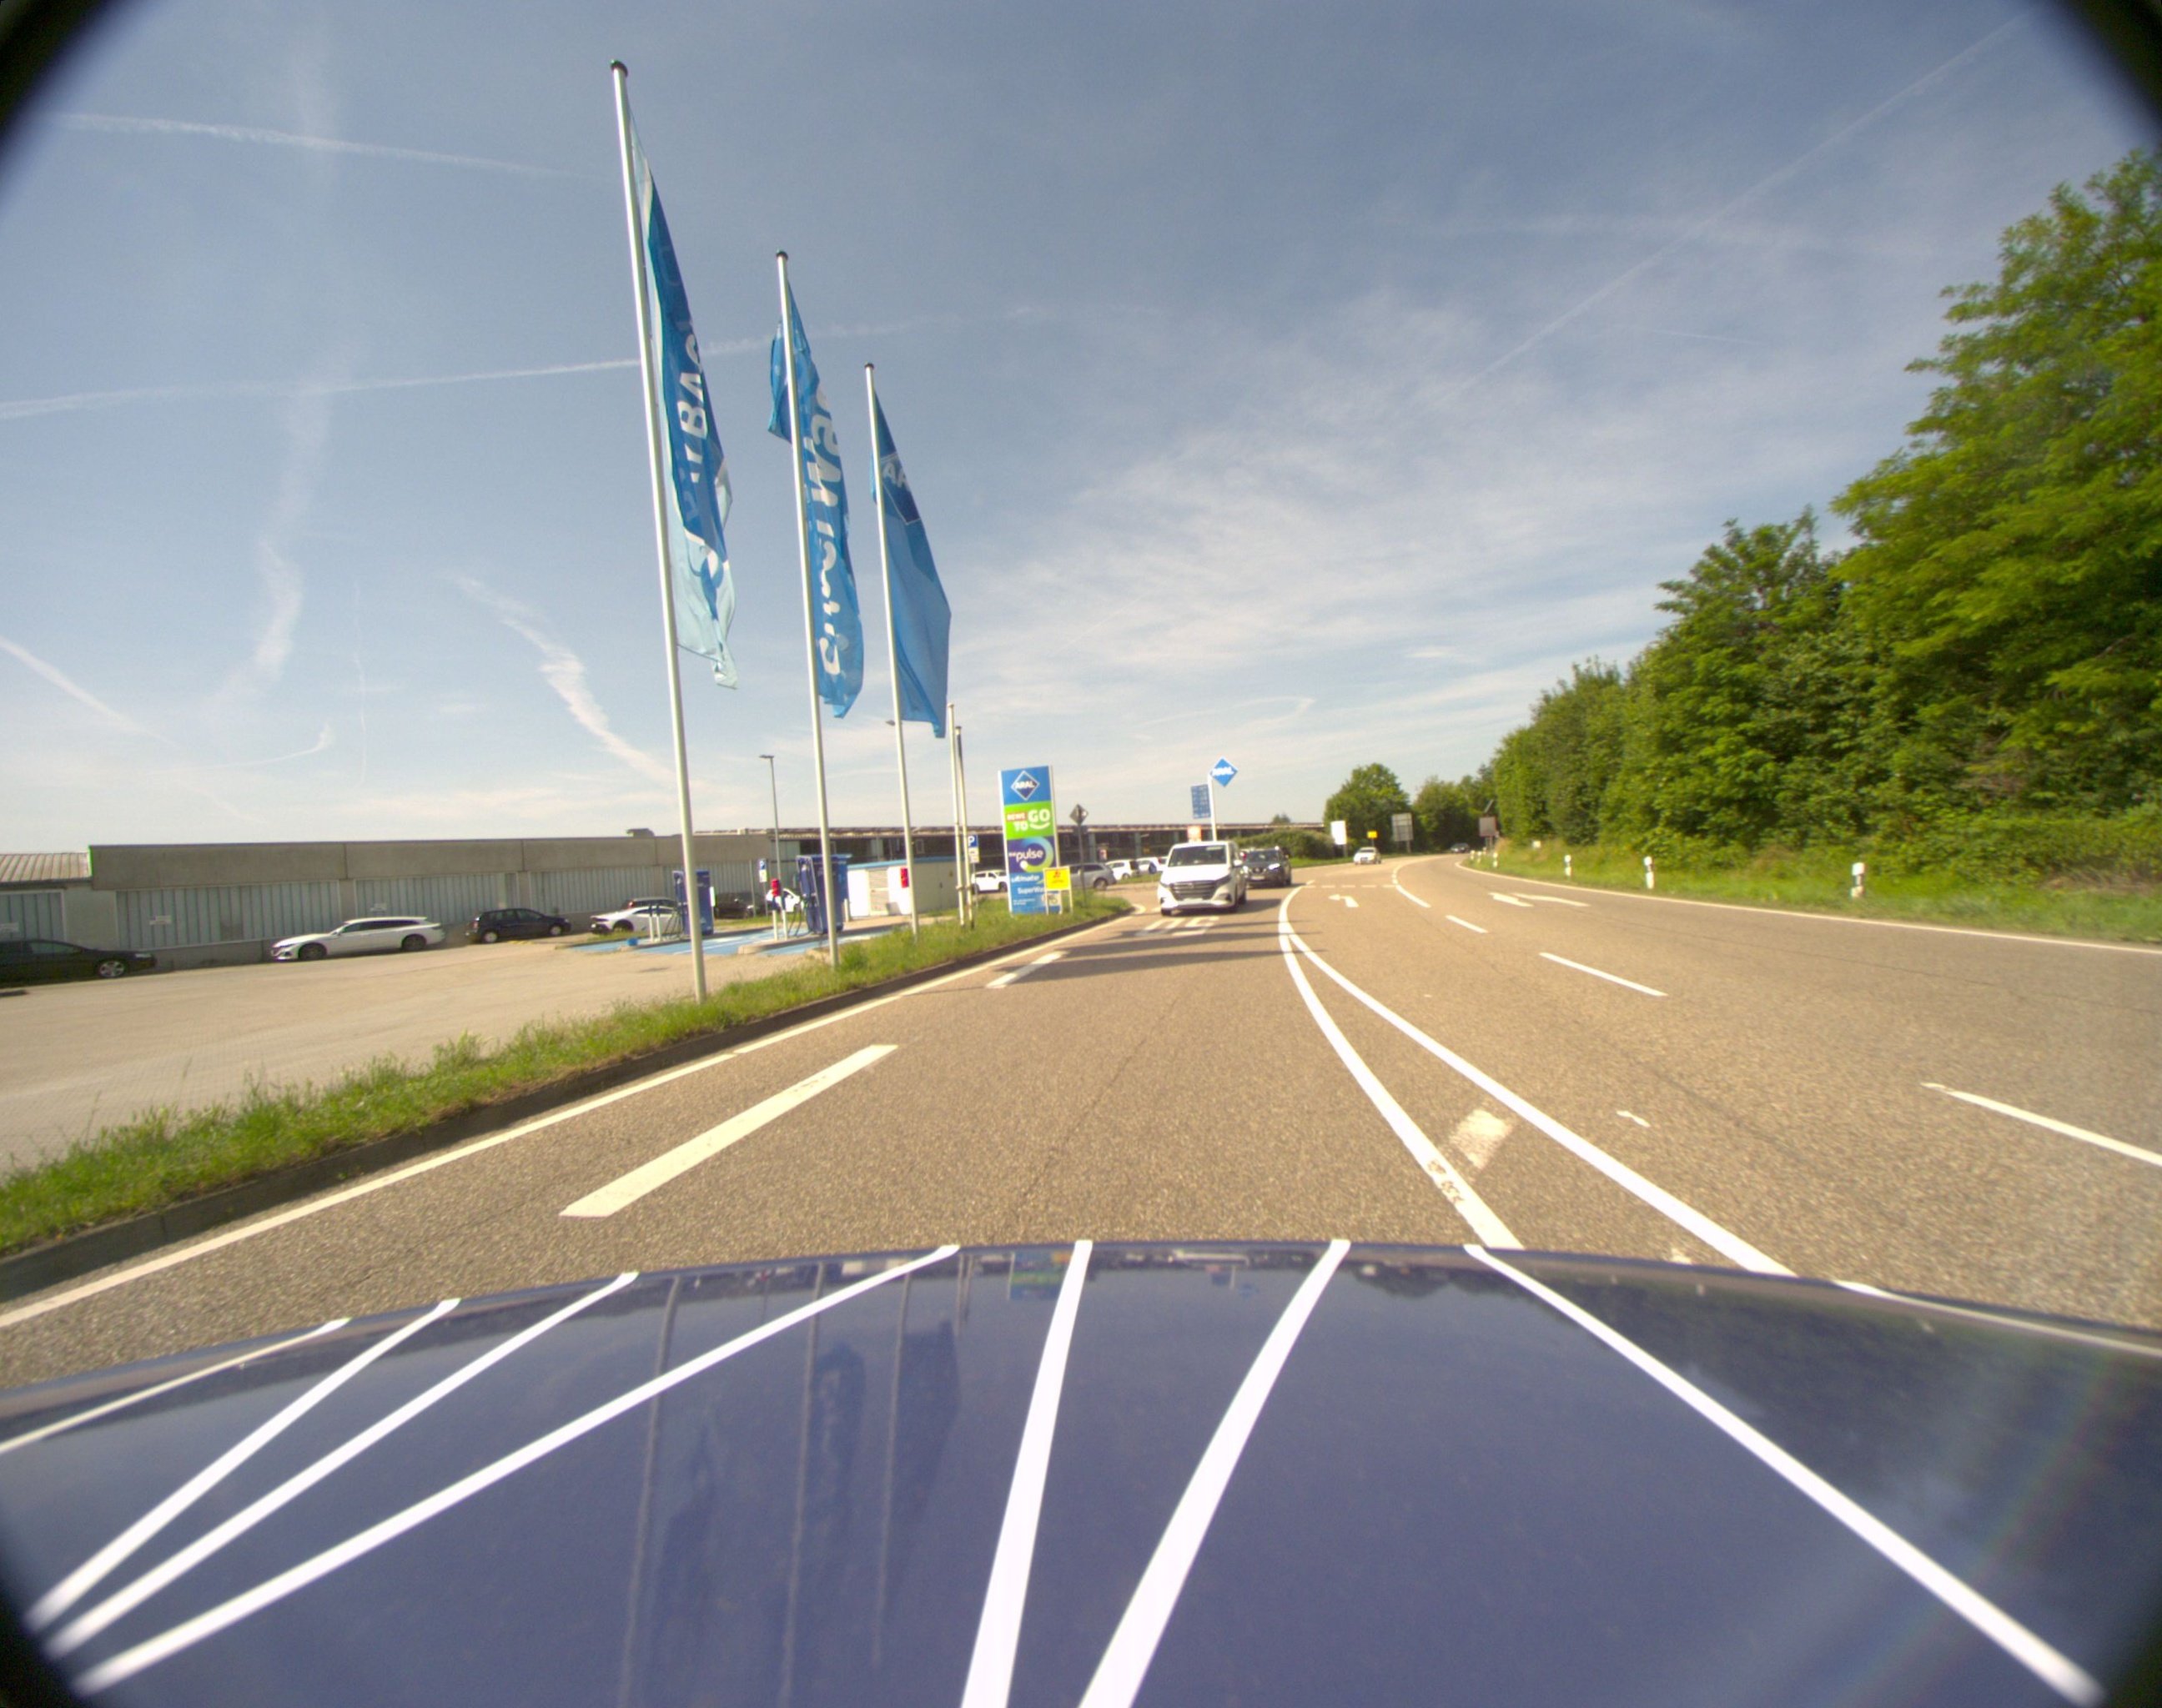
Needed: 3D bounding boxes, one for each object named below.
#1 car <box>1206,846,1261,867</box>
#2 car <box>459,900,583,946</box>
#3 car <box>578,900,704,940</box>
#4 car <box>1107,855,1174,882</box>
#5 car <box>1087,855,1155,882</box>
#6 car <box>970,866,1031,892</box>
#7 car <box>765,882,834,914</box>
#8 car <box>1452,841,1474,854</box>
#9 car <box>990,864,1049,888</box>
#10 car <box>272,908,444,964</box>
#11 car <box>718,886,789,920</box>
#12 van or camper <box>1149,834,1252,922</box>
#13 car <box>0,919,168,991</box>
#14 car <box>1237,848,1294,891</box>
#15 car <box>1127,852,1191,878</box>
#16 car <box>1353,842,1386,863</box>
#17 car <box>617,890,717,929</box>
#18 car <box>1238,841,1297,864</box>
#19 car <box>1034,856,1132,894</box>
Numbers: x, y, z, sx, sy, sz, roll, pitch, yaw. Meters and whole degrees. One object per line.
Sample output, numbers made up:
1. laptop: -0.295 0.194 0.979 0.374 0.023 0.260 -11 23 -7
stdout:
1. car: 13.169 0.227 65.618 4.247 1.628 1.826 -4 -2 34
2. car: -25.104 3.049 34.162 1.885 1.595 4.029 -4 0 39
3. car: -18.268 2.710 31.712 1.694 1.245 4.133 -4 0 39
4. car: 4.184 1.036 53.572 4.247 1.628 1.826 -4 -2 34
5. car: 2.732 1.025 52.082 4.247 1.628 1.826 -4 -2 34
6. car: -5.924 1.842 55.722 4.454 1.628 1.826 -4 -2 40
7. car: -15.847 2.477 42.671 4.011 1.595 1.894 -4 0 42
8. car: 55.105 -0.946 109.583 1.864 1.631 4.430 -4 0 40
9. car: -4.710 1.713 57.945 4.454 1.628 1.826 -4 -2 40
10. car: -28.203 3.138 29.785 1.885 1.595 4.538 -4 0 36
11. car: -17.520 2.603 40.553 4.011 1.595 1.894 -4 0 42
12. van or camper: 3.418 0.563 20.772 1.996 2.002 5.296 -4 0 16
13. car: -32.585 3.204 23.921 1.885 1.815 4.664 -4 0 34
14. car: 7.553 0.580 30.841 1.818 1.532 3.732 -4 0 19
15. car: 5.680 0.798 55.460 4.247 1.628 1.826 -4 -2 34
16. car: 24.881 -0.139 65.416 1.864 1.631 4.429 -4 0 29
17. car: -21.193 2.802 39.034 1.885 1.595 4.028 -4 0 43
18. car: 15.130 -0.116 61.689 4.247 1.628 1.826 -4 -2 34
19. car: 0.104 1.182 44.069 5.244 1.820 1.998 -4 0 -14
